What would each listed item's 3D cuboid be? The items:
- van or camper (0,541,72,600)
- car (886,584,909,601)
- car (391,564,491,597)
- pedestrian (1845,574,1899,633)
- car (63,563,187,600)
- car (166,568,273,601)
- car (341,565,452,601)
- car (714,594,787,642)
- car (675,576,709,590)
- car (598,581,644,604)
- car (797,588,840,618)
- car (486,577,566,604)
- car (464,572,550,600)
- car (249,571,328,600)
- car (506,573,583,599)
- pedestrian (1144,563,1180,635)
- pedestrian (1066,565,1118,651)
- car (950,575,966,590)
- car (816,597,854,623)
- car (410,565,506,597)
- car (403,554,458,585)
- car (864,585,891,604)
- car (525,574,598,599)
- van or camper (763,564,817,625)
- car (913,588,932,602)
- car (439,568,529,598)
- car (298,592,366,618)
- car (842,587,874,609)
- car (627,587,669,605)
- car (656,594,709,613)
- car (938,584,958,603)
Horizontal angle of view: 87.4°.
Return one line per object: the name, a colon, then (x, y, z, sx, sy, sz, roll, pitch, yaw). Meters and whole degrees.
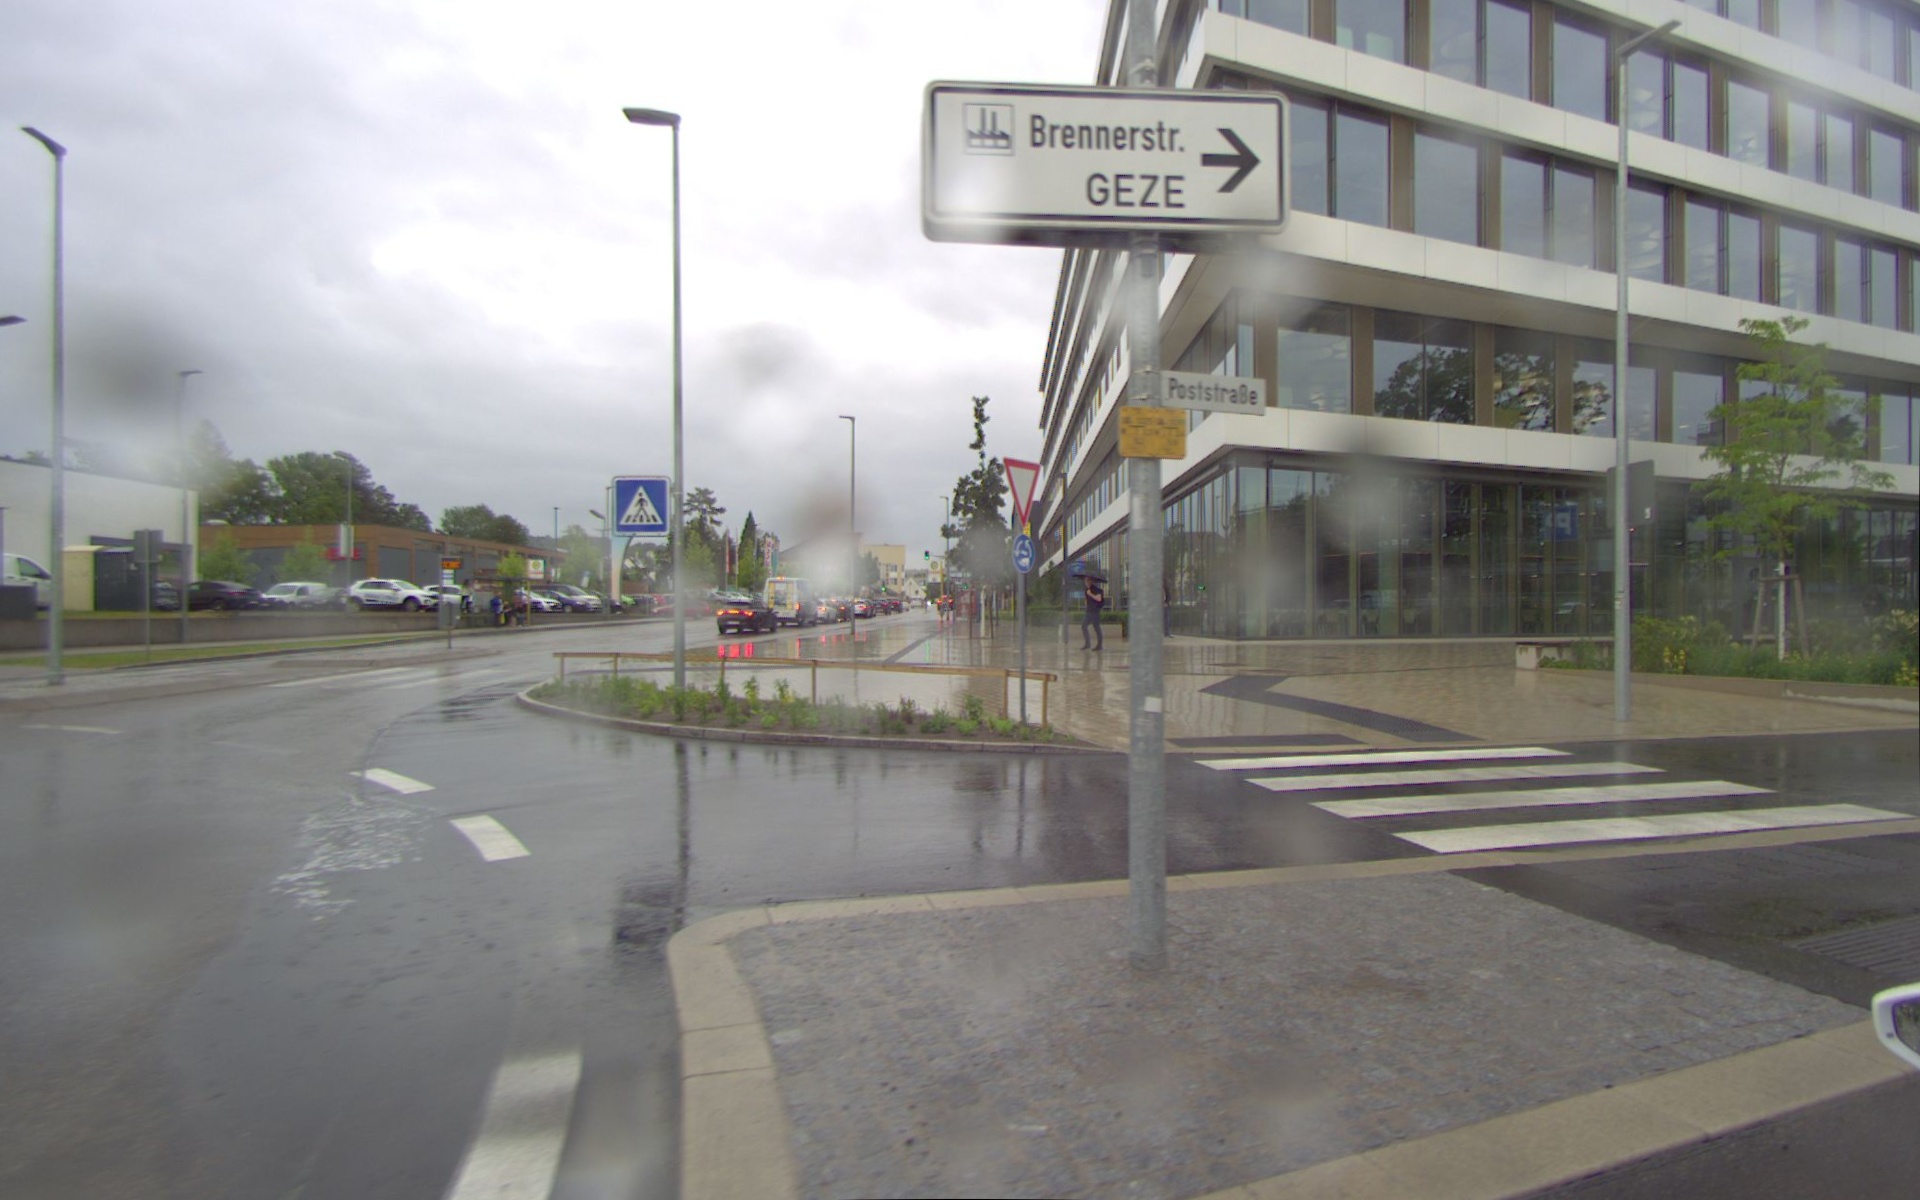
van or camper: (-30.099, -0.920, 30.690, 1.850, 1.785, 4.382, 1, 3, 3)
car: (-6.506, -0.794, 104.483, 1.960, 1.640, 4.000, 1, 1, 2)
car: (-25.103, -0.927, 48.663, 3.921, 1.573, 1.794, 0, 1, -1)
pedestrian: (27.845, 0.109, 30.670, 0.941, 1.727, 0.723, 1, 3, -18)
car: (-36.391, -0.801, 43.836, 3.920, 1.573, 1.794, 0, 1, 1)
car: (-36.266, -0.762, 49.267, 3.920, 1.573, 1.794, 0, 1, 1)
car: (-25.445, -0.767, 45.440, 3.921, 1.573, 1.852, 0, 1, -1)
car: (-9.008, 0.735, 43.481, 1.959, 1.751, 4.001, 1, 3, 6)
car: (-35.164, -2.251, 131.916, 3.921, 1.673, 2.000, 3, 3, 1)
car: (-33.979, -0.769, 100.722, 3.921, 2.041, 2.000, 3, 3, 0)
car: (-8.657, 0.143, 61.895, 1.960, 1.729, 4.000, 1, 1, 2)
car: (-25.317, -0.555, 58.697, 3.921, 1.573, 1.794, 0, 1, -1)
car: (-25.192, -0.777, 55.952, 3.921, 1.573, 1.794, 0, 1, -1)
car: (-37.371, -0.789, 56.014, 1.759, 1.573, 3.999, 0, 1, -2)
car: (-25.312, -0.854, 61.234, 3.921, 1.573, 1.794, 0, 1, -1)
pedestrian: (6.203, -0.034, 30.939, 0.985, 2.174, 0.932, 0, 1, 5)
pedestrian: (3.189, 0.184, 24.279, 0.919, 2.041, 0.888, 0, 1, -25)
car: (-0.255, -2.503, 141.120, 1.960, 1.885, 4.000, 3, 3, 4)
car: (-8.428, 0.637, 68.230, 1.960, 1.640, 4.000, 1, 1, 2)
car: (-25.252, -0.971, 50.655, 3.921, 1.573, 1.794, 0, 1, -1)
car: (-38.347, -2.209, 72.842, 1.961, 2.041, 3.997, 2, 3, -2)
car: (-7.329, -0.499, 89.839, 1.960, 1.640, 4.000, 1, 1, 2)
car: (-25.262, -0.854, 63.778, 3.921, 1.573, 1.794, 0, 1, -1)
van or camper: (-9.039, -0.382, 53.867, 1.960, 3.130, 5.100, 0, 2, 0)
car: (-5.092, -0.675, 135.185, 1.960, 1.606, 4.001, 3, 3, 6)
car: (-25.319, -0.881, 53.523, 3.921, 1.573, 1.794, 0, 1, -1)
car: (-34.432, 0.227, 55.154, 1.560, 1.371, 3.519, 0, 1, -2)
car: (-7.822, -0.186, 77.402, 1.960, 1.640, 4.000, 1, 1, 2)
car: (-34.755, -0.472, 111.963, 3.921, 1.673, 2.000, 3, 3, 1)
car: (-21.952, 0.275, 79.347, 3.938, 1.417, 1.991, 0, 1, -20)
car: (-1.424, -0.796, 118.844, 1.960, 1.885, 4.000, 3, 3, 4)
